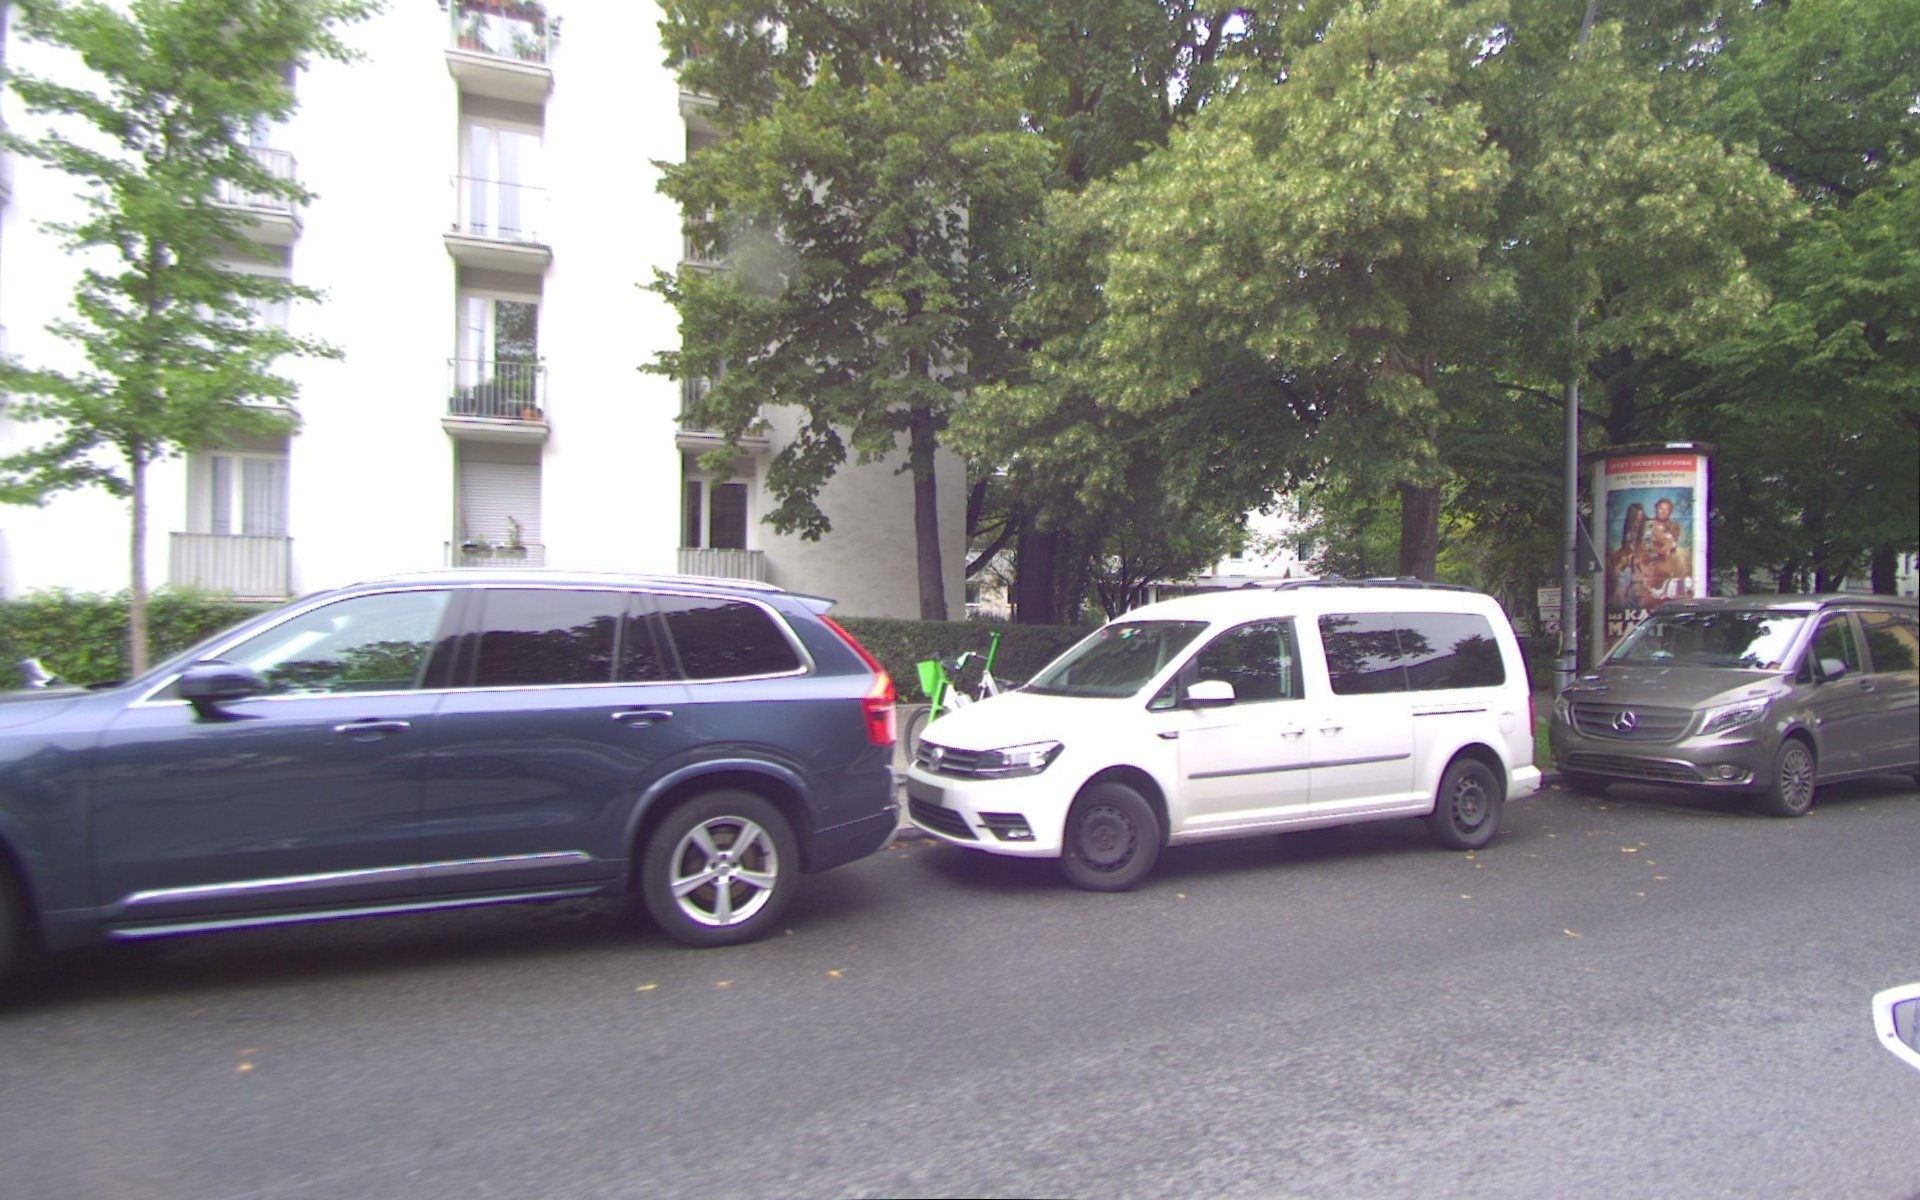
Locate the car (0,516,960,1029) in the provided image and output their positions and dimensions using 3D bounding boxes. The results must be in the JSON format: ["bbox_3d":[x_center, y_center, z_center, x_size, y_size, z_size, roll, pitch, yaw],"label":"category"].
[{"bbox_3d":[-2.600,0.674,5.021,4.845,1.815,1.989,1,-3,-24],"label":"car"}]

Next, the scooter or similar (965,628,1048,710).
[{"bbox_3d":[0.707,1.041,15.286,1.197,1.209,0.398,1,-1,-21],"label":"scooter or similar"}]

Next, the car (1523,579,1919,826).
[{"bbox_3d":[8.126,0.911,10.066,5.143,1.958,1.880,2,-3,-29],"label":"car"}]

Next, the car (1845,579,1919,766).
[{"bbox_3d":[14.223,0.943,13.299,5.174,2.302,1.940,1,-3,-27],"label":"car"}]

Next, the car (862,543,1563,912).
[{"bbox_3d":[1.864,0.758,7.168,4.783,1.943,1.825,1,-3,-25],"label":"car"}]

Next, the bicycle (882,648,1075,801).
[{"bbox_3d":[0.121,1.022,8.760,1.805,1.164,0.534,-1,-2,44],"label":"bicycle"}]

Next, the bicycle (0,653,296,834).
[{"bbox_3d":[-5.438,0.890,6.547,1.809,1.063,0.488,1,-1,-30],"label":"bicycle"}]
